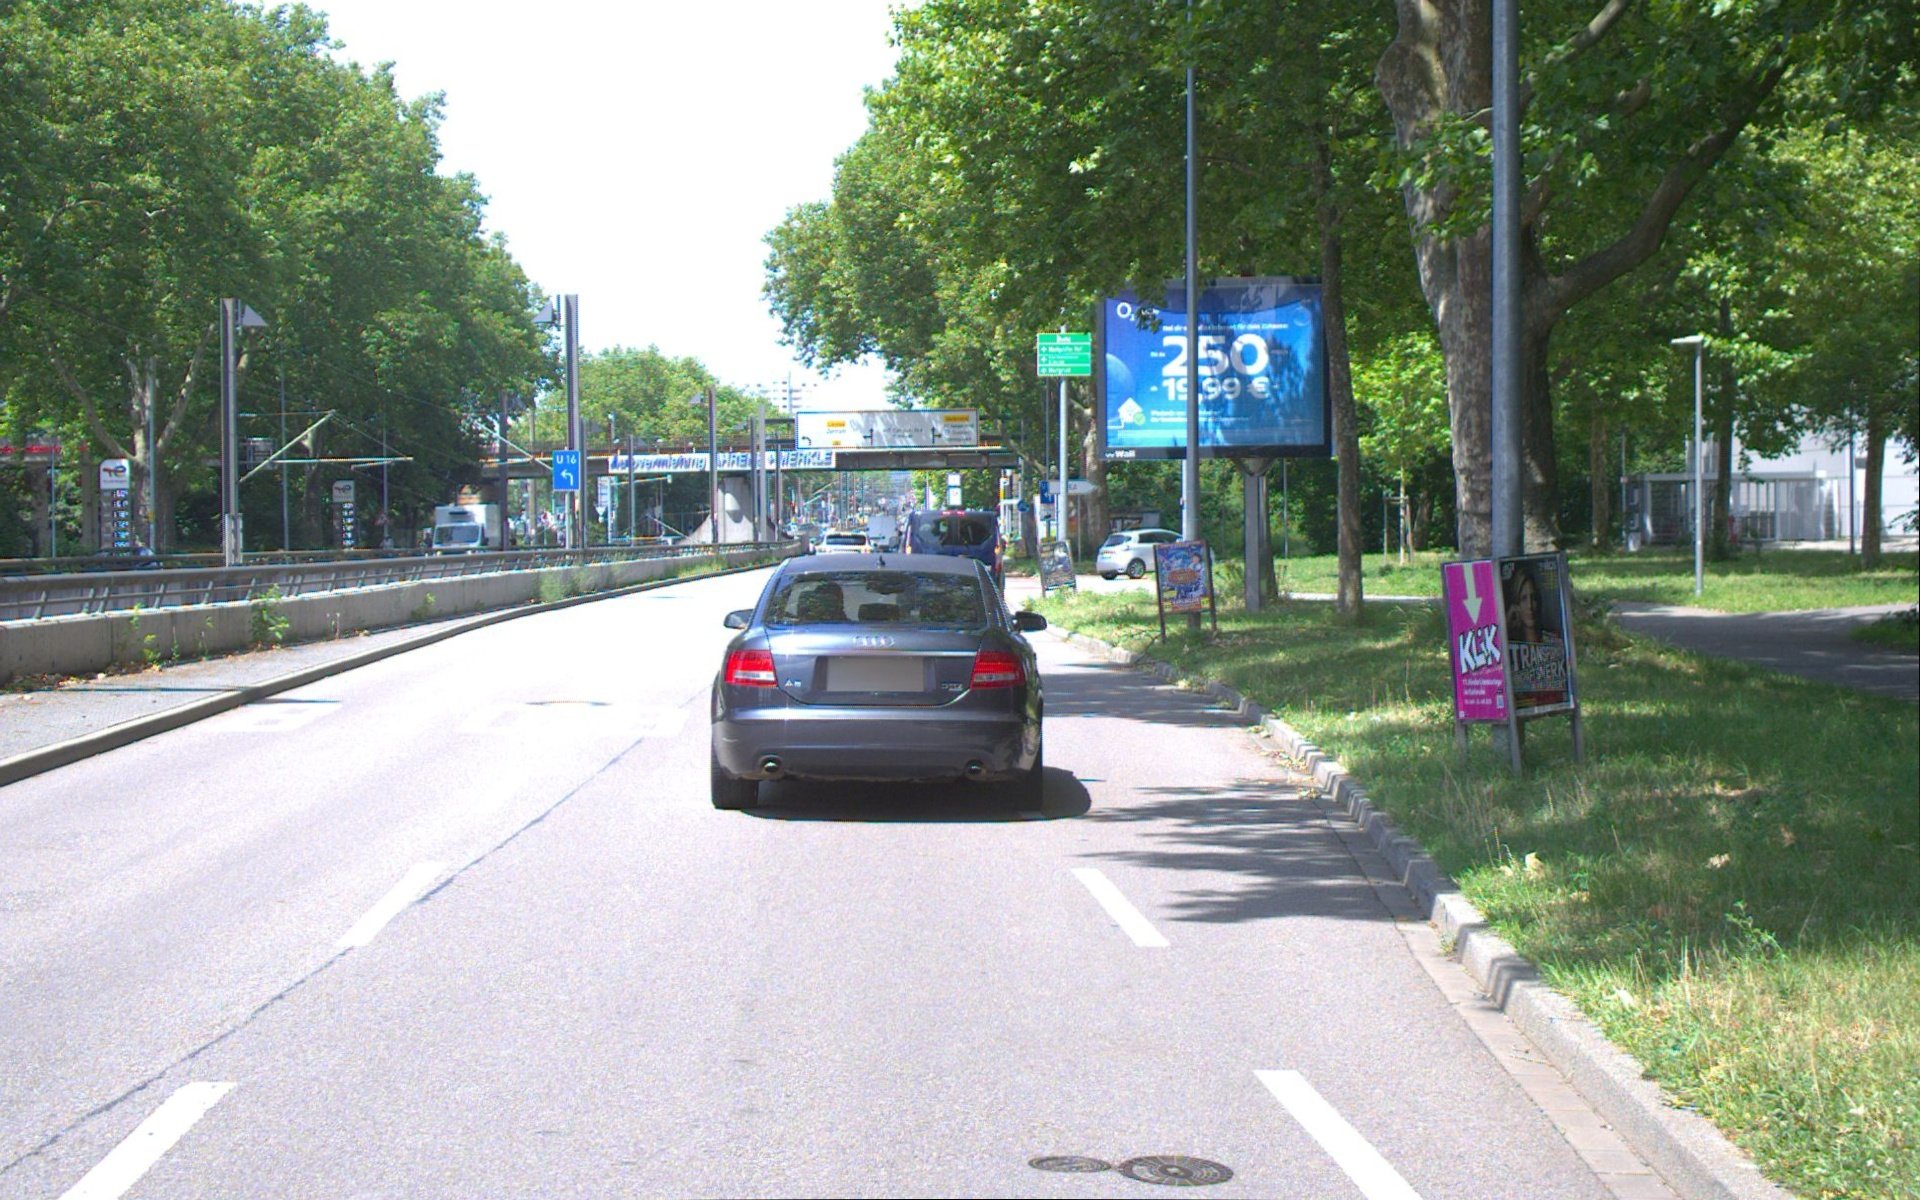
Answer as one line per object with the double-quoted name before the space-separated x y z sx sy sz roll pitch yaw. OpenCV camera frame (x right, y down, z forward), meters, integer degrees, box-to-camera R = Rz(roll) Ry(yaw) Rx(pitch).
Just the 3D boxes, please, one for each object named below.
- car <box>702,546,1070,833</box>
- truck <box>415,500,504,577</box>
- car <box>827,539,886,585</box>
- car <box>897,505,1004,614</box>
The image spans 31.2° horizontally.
"car" -0.531 0.433 19.899 1.842 1.479 4.001 0 1 -5
"truck" -20.047 -2.471 138.114 2.990 3.010 8.002 0 1 -4
"car" -3.349 -1.233 110.310 1.845 1.459 4.001 0 1 -2
"car" -0.140 -0.769 64.509 1.848 1.953 4.144 1 1 2
